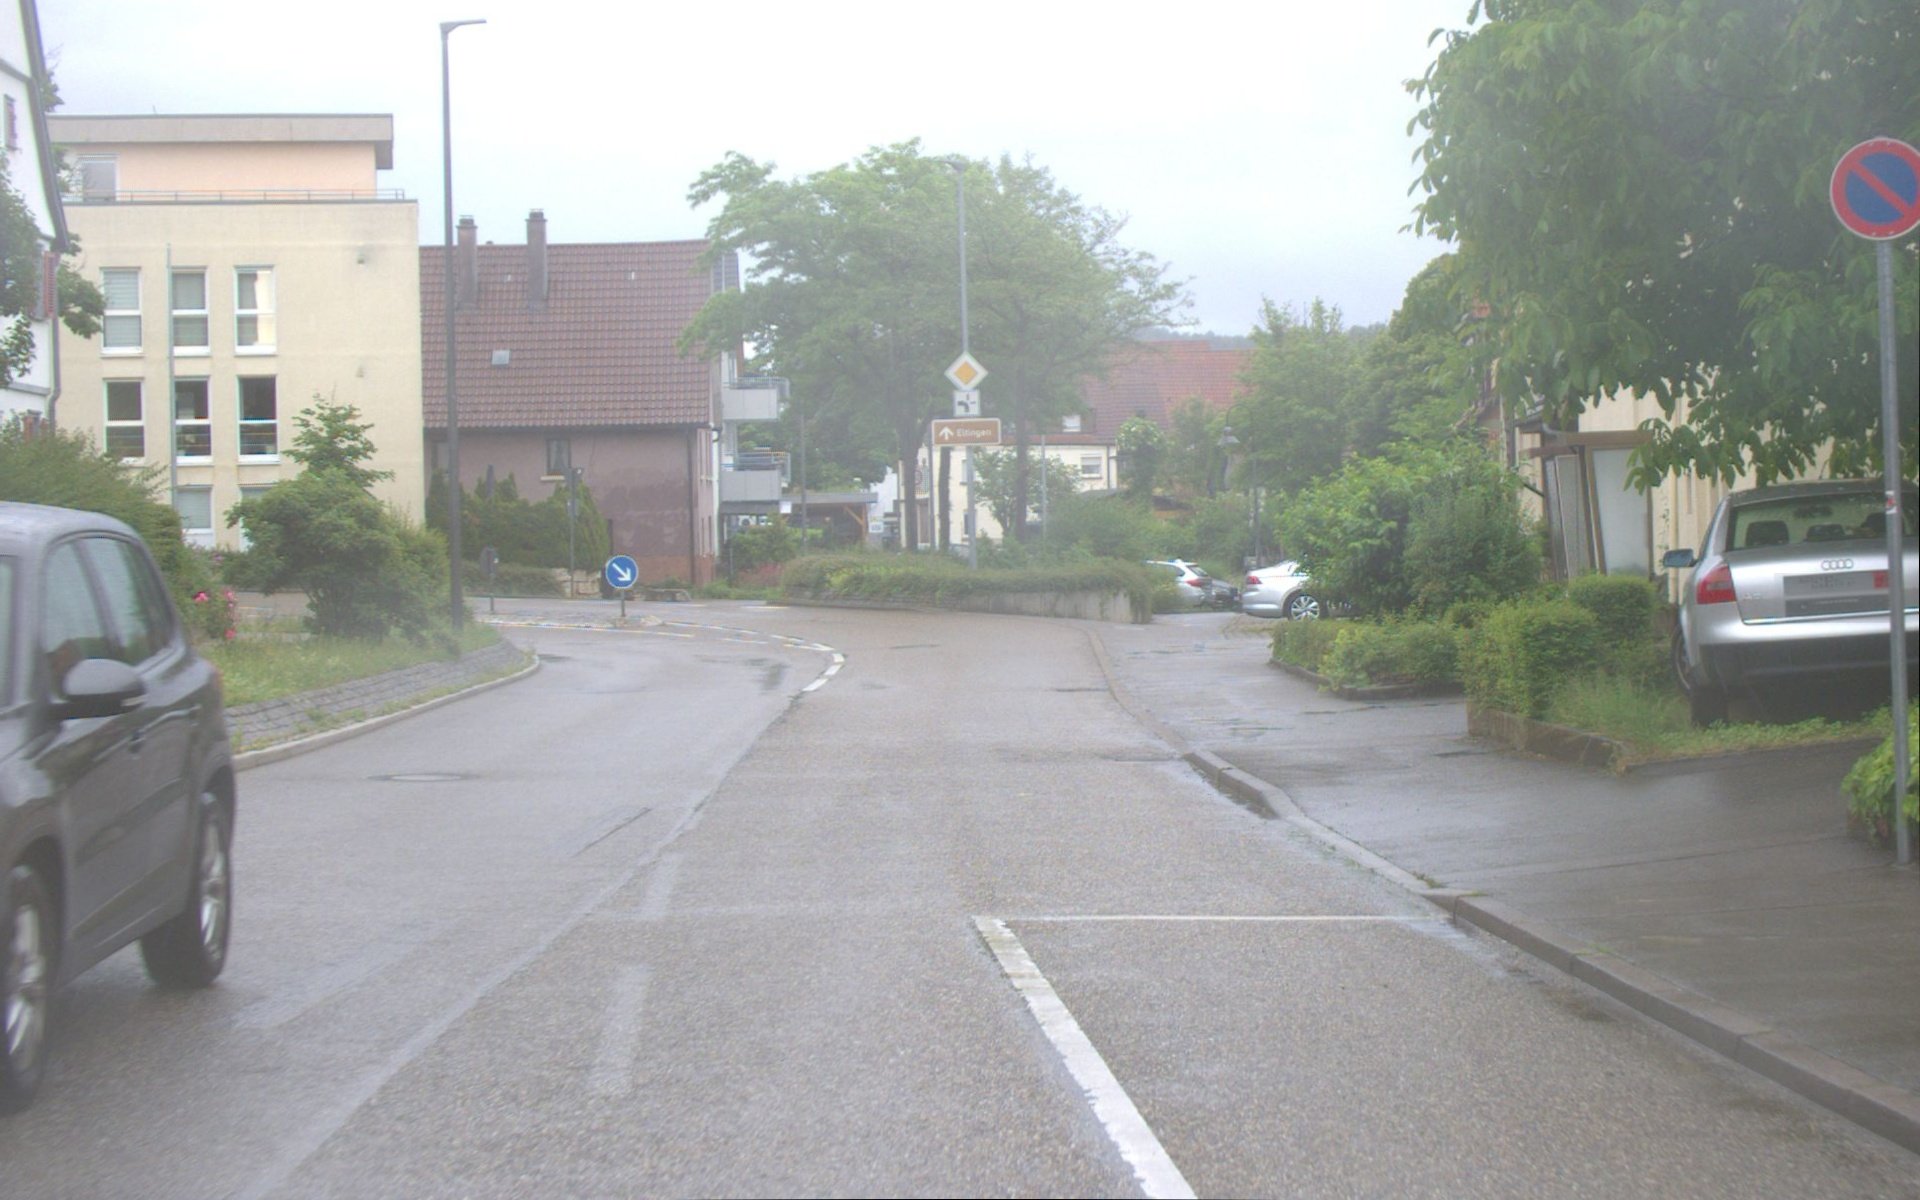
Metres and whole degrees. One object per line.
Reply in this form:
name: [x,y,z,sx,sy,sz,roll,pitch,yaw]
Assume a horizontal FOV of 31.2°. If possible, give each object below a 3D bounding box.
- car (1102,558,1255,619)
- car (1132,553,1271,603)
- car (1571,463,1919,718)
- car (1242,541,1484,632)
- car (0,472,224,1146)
car: [6.099,-0.329,95.875,3.989,1.620,1.999,-1,1,13]
car: [7.180,-0.660,101.992,3.988,1.415,2.000,-1,1,7]
car: [4.975,-0.085,21.305,1.638,1.425,3.677,-1,1,-1]
car: [6.917,-0.238,58.844,3.955,1.404,1.999,-2,0,11]
car: [-3.351,0.495,9.976,1.797,1.634,4.001,-1,1,-4]
